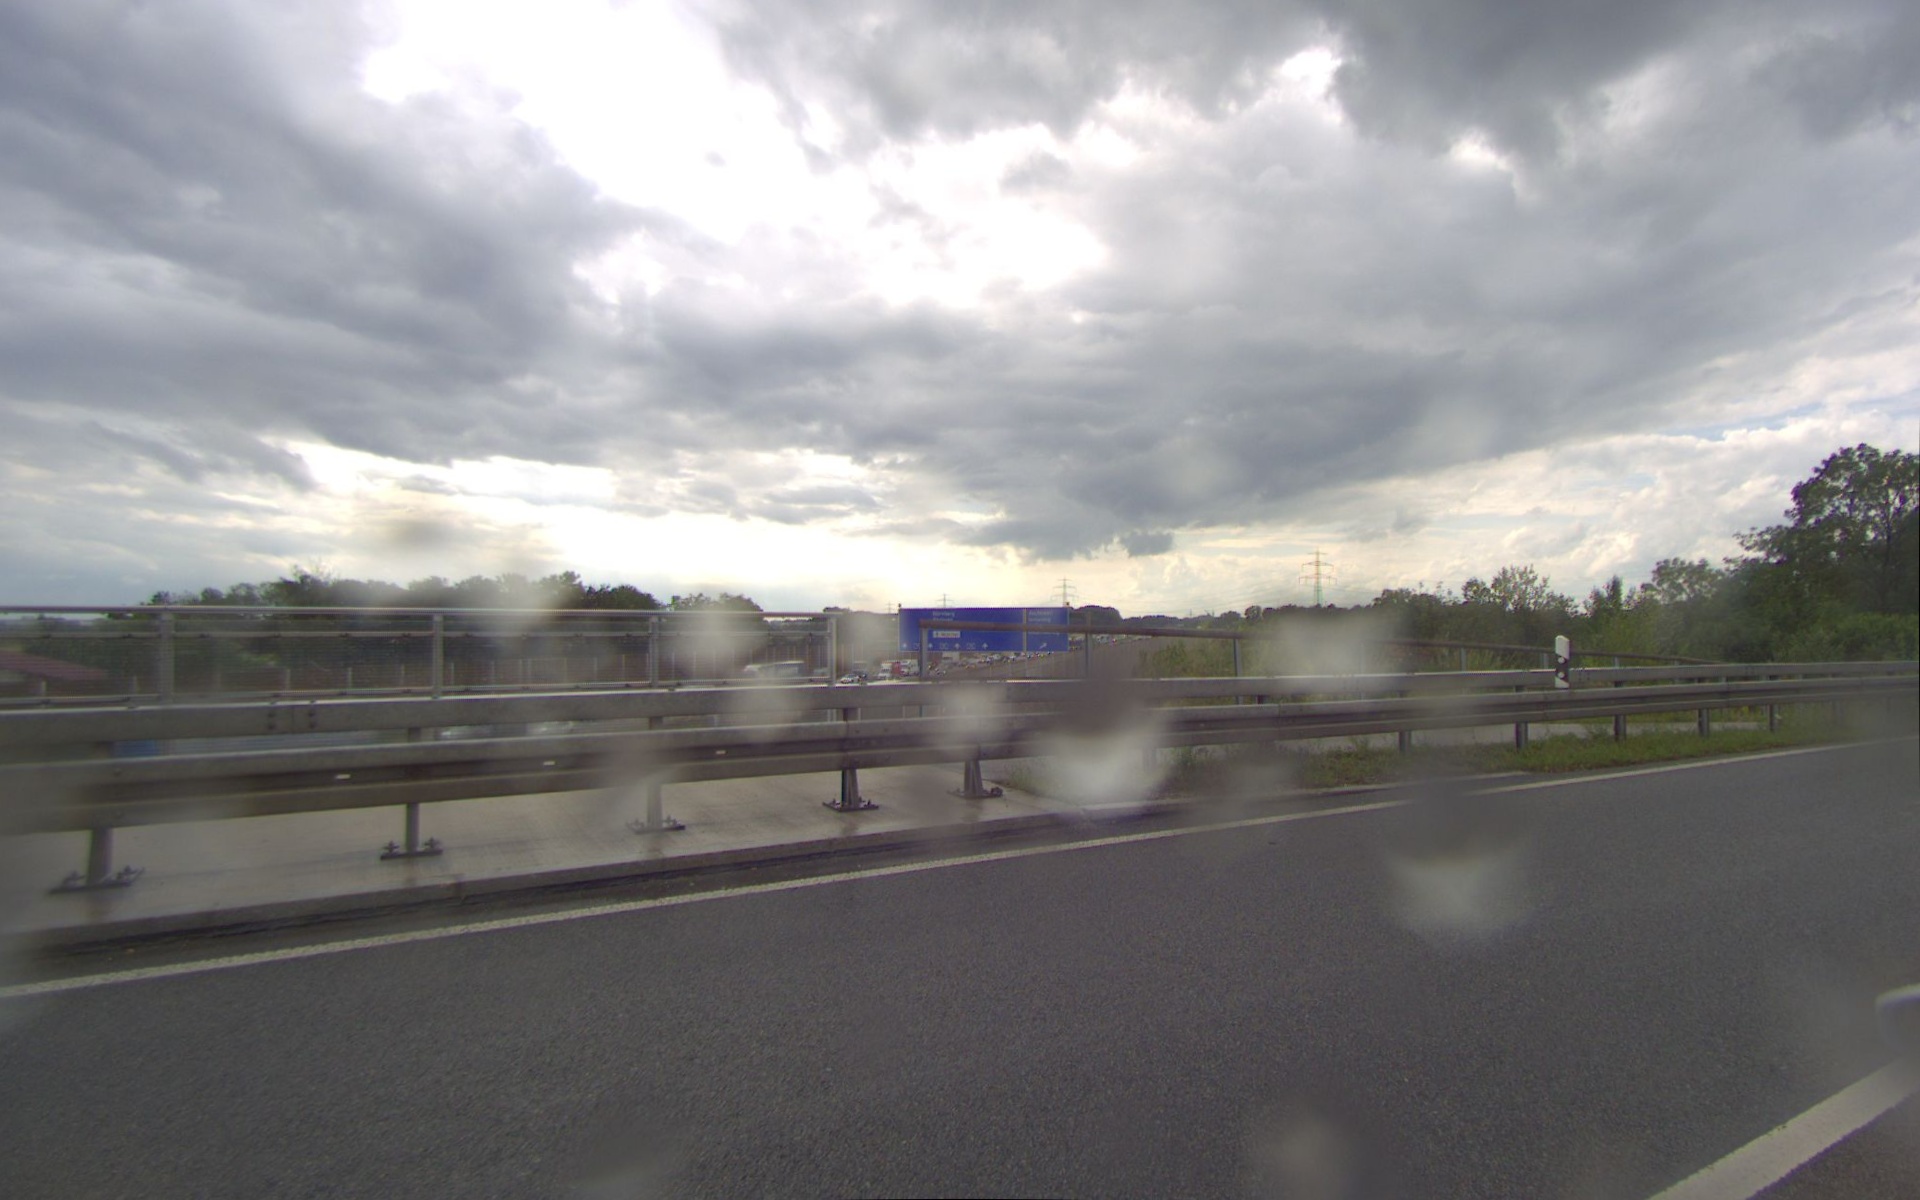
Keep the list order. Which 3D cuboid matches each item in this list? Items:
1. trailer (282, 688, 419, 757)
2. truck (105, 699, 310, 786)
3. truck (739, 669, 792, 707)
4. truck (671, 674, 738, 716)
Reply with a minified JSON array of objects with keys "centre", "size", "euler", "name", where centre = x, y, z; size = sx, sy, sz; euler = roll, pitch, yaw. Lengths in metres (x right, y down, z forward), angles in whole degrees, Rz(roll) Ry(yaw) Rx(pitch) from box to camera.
[{"centre":[-44.087,8.748,73.143],"size":[2.388,3.812,9.462],"euler":[1,0,16],"name":"trailer"},{"centre":[-46.861,8.745,63.225],"size":[2.388,3.812,11.174],"euler":[1,0,16],"name":"truck"},{"centre":[-26.679,12.047,138.674],"size":[2.388,4.250,11.174],"euler":[1,0,16],"name":"truck"},{"centre":[-30.253,11.174,119.547],"size":[2.388,3.812,11.174],"euler":[1,0,16],"name":"truck"}]
